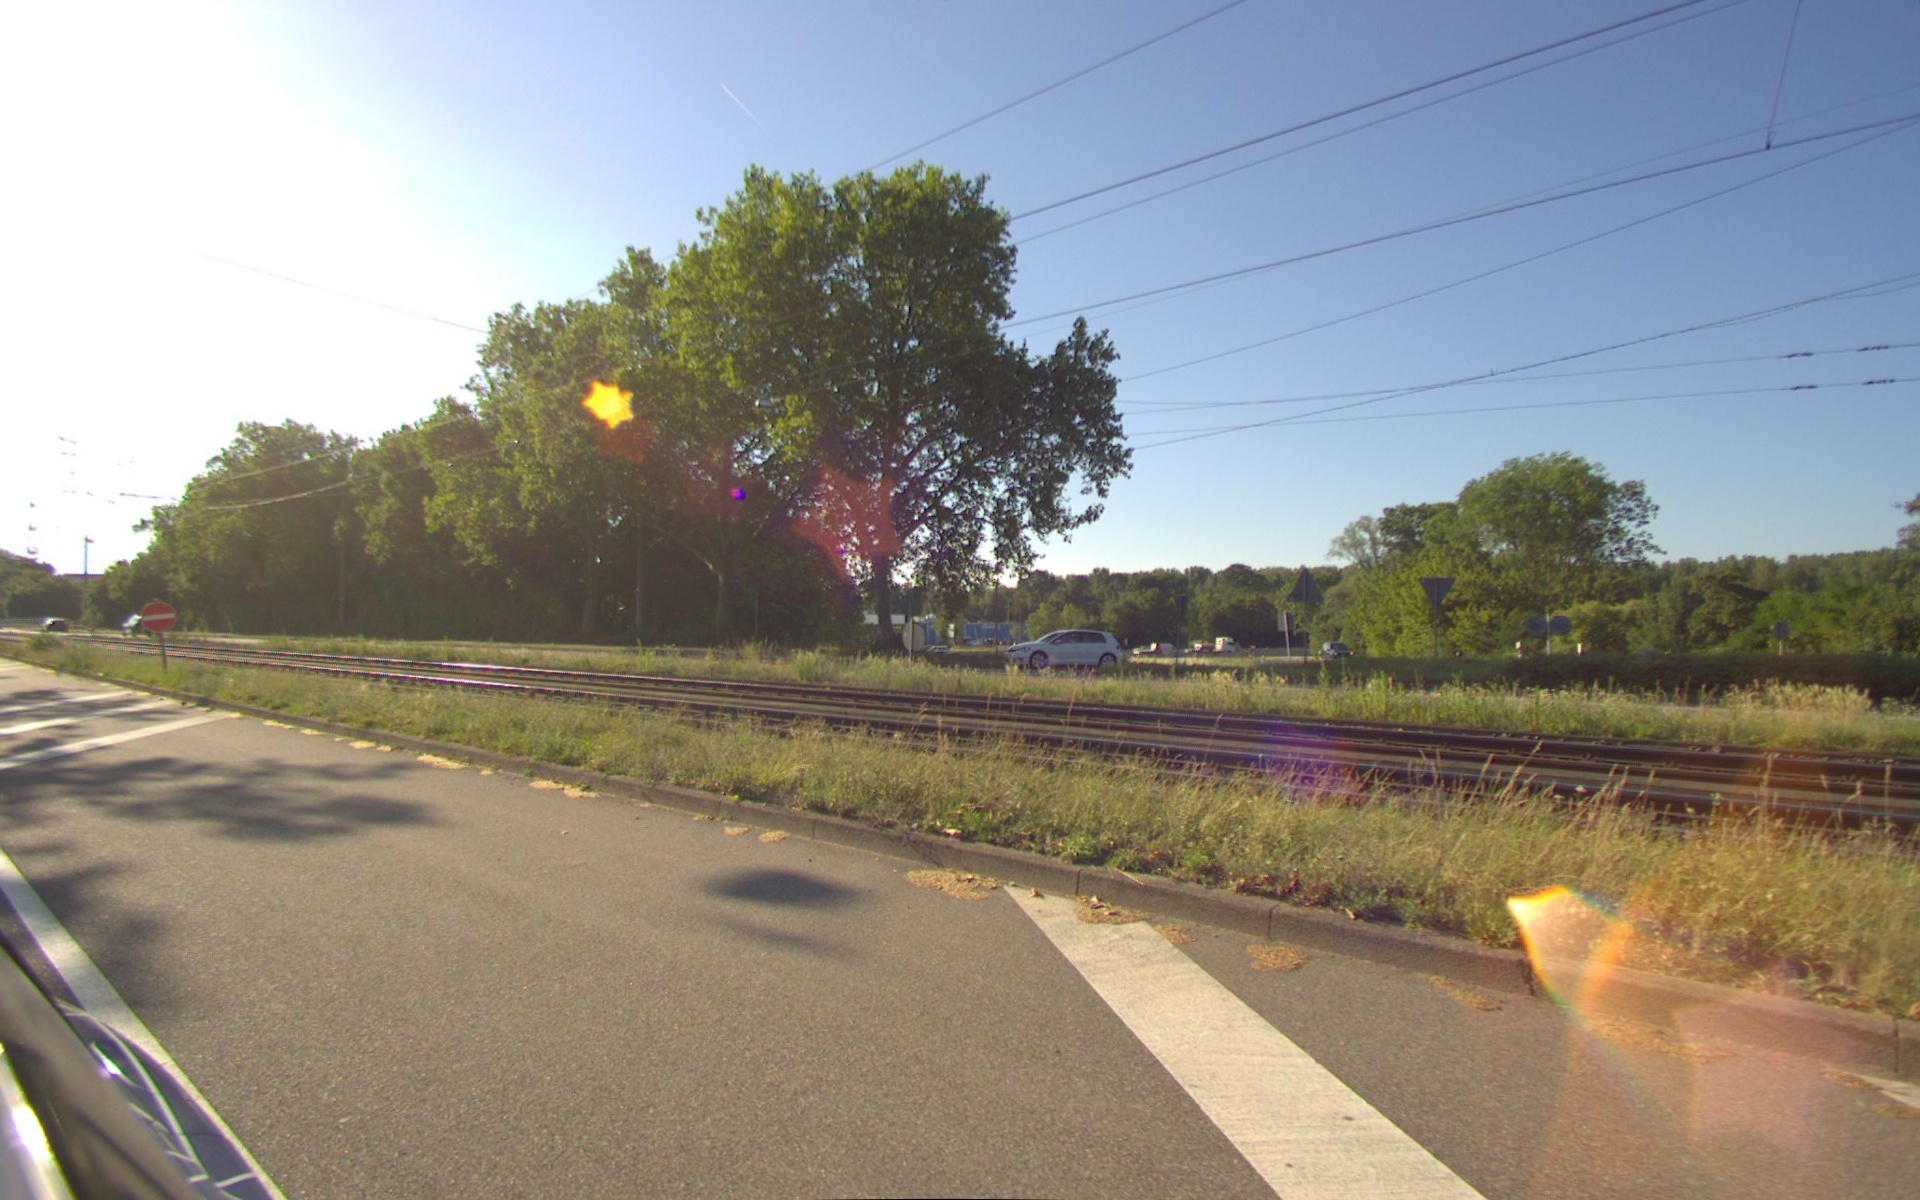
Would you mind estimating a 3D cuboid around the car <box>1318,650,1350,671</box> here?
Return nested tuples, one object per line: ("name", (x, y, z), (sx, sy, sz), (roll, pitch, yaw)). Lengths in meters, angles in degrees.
("car", (30.363, 4.898, 82.195), (1.640, 1.537, 4.113), (3, -3, 10))

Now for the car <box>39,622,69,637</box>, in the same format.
("car", (-96.841, 3.152, 108.154), (4.343, 1.479, 1.693), (-2, -4, 39))

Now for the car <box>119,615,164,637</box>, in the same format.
("car", (-67.771, 2.155, 83.763), (4.936, 1.707, 1.879), (-1, -3, 39))

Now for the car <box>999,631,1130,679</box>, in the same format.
("car", (3.665, 1.932, 35.596), (4.201, 1.537, 1.663), (2, -1, -16))

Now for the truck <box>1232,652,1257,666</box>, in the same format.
("truck", (35.504, 7.345, 126.396), (1.634, 1.537, 4.130), (4, -3, -4))

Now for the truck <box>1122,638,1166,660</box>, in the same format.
("truck", (22.817, 6.048, 125.223), (4.944, 2.540, 2.072), (-1, 0, -20))
